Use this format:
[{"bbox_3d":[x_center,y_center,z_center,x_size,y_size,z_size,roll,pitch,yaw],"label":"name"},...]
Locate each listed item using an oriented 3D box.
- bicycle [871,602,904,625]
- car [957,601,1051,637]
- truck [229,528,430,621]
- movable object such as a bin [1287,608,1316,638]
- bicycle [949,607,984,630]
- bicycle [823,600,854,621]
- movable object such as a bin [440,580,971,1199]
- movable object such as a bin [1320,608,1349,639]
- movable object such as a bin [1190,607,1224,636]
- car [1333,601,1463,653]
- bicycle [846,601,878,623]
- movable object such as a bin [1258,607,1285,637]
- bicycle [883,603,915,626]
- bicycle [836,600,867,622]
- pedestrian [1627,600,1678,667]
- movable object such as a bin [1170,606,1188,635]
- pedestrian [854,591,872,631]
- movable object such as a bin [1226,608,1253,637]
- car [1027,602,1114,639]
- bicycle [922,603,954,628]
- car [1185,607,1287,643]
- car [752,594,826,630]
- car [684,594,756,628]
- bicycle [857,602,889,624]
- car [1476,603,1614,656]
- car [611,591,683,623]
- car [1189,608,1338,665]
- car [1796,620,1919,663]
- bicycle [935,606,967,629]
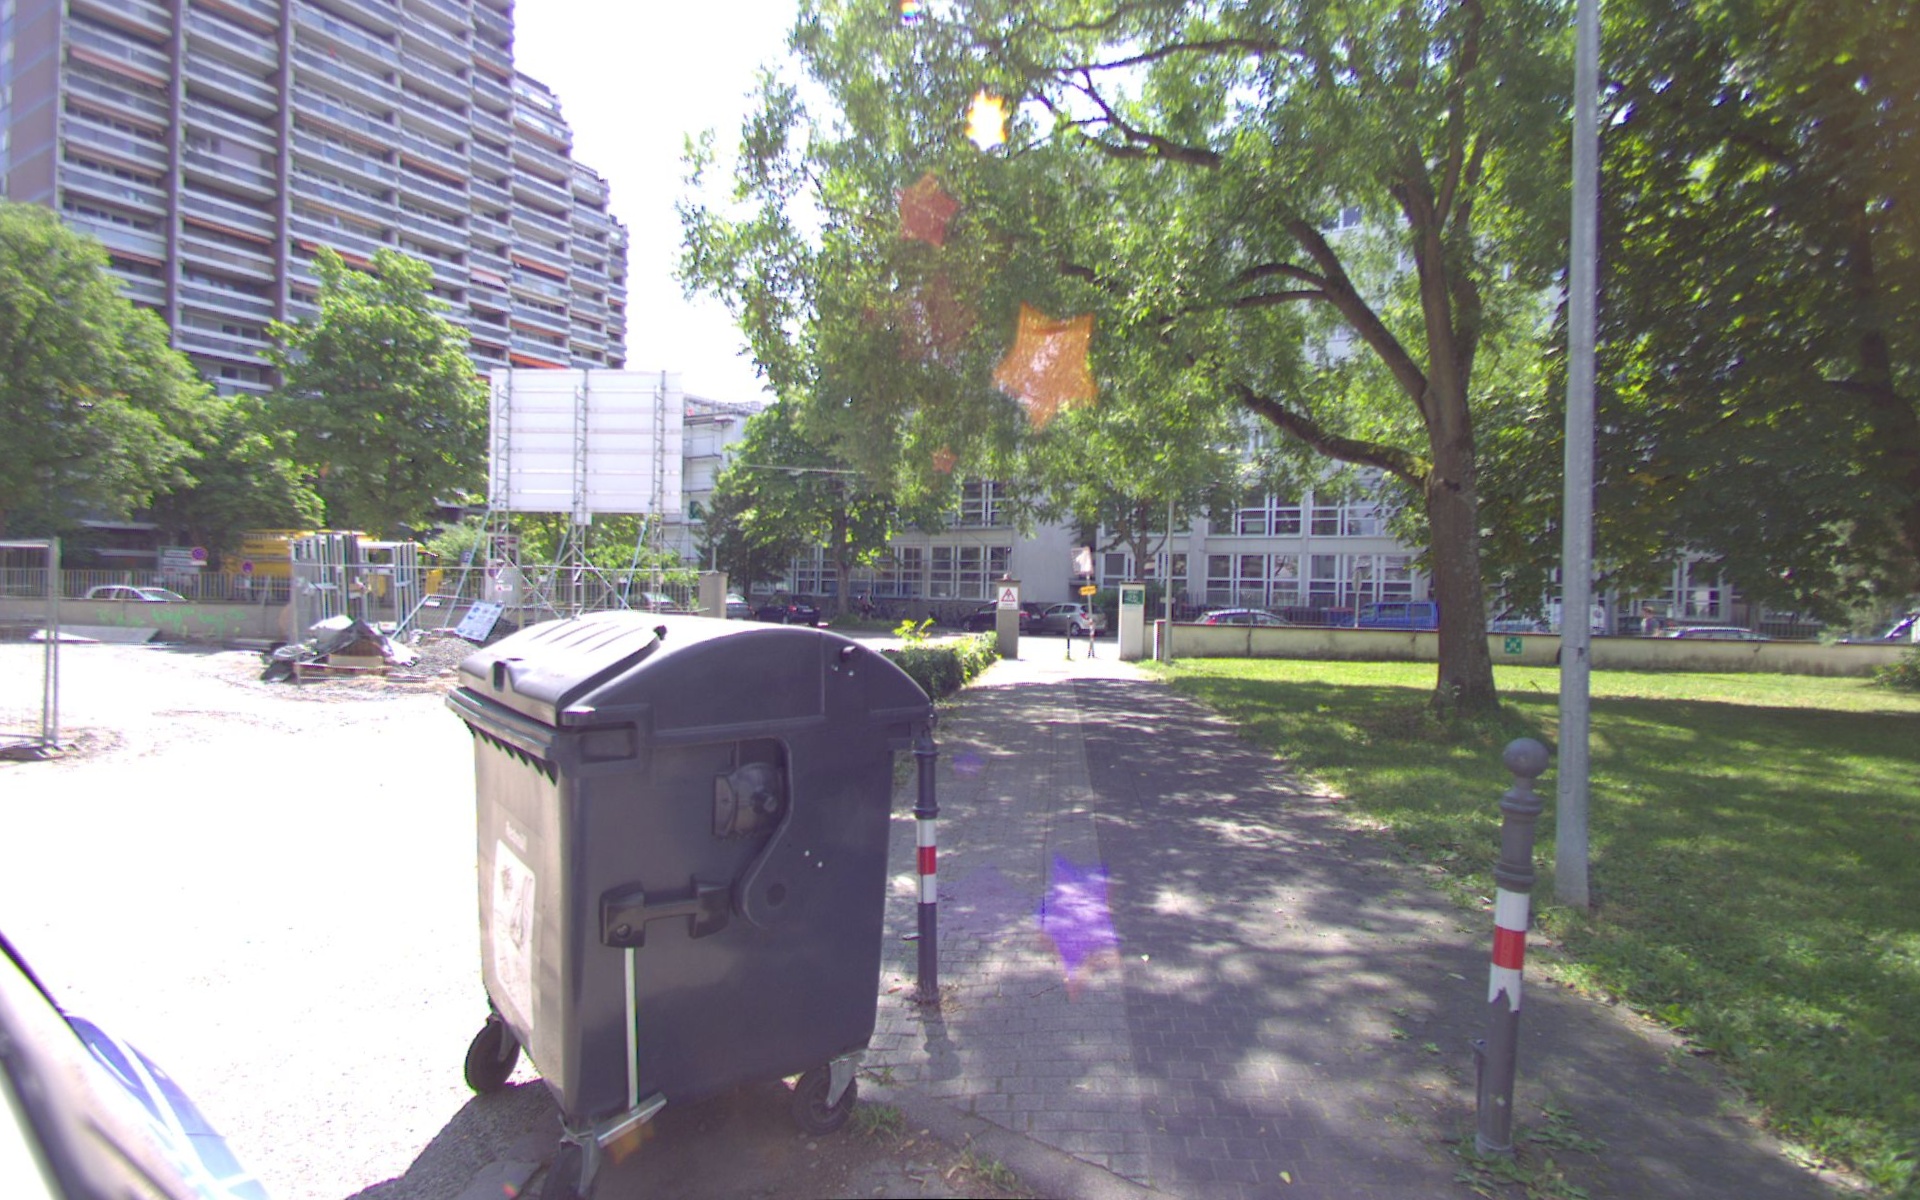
[{"bbox_3d":[-3.722,0.702,52.107,0.567,1.139,1.920,1,0,35],"label":"bicycle"},{"bbox_3d":[1.907,0.831,44.924,1.727,1.481,4.203,2,0,-41],"label":"car"},{"bbox_3d":[-29.404,-1.197,47.125,9.677,4.036,2.731,1,0,22],"label":"truck"},{"bbox_3d":[16.420,1.096,48.682,1.170,1.409,1.033,1,-1,13],"label":"movable object such as a bin"},{"bbox_3d":[0.319,0.923,50.321,0.567,1.139,2.208,1,0,35],"label":"bicycle"},{"bbox_3d":[-6.453,0.564,53.903,0.567,1.139,1.906,1,0,32],"label":"bicycle"},{"bbox_3d":[-0.764,0.670,2.861,1.097,1.404,1.163,2,-1,-34],"label":"movable object such as a bin"},{"bbox_3d":[17.916,1.125,48.453,1.170,1.409,1.033,1,-1,13],"label":"movable object such as a bin"},{"bbox_3d":[11.963,1.040,49.009,1.434,1.340,1.124,1,-1,6],"label":"movable object such as a bin"},{"bbox_3d":[18.457,1.085,42.804,1.969,2.029,4.638,2,0,-41],"label":"car"},{"bbox_3d":[-5.128,0.620,53.117,0.567,1.139,1.904,1,0,35],"label":"bicycle"},{"bbox_3d":[15.033,1.069,48.890,1.170,1.409,1.033,1,-1,13],"label":"movable object such as a bin"},{"bbox_3d":[-3.101,0.738,51.619,0.567,1.139,1.920,1,0,35],"label":"bicycle"},{"bbox_3d":[-5.747,0.600,53.575,0.567,1.139,1.906,1,0,32],"label":"bicycle"},{"bbox_3d":[16.580,0.789,24.232,0.734,1.579,0.697,0,0,3],"label":"pedestrian"},{"bbox_3d":[10.933,1.000,50.461,0.797,1.416,0.762,1,-1,19],"label":"movable object such as a bin"},{"bbox_3d":[-4.606,0.521,48.267,0.573,1.889,0.711,1,-1,18],"label":"pedestrian"},{"bbox_3d":[13.516,1.072,48.920,1.064,1.340,0.969,1,-1,6],"label":"movable object such as a bin"},{"bbox_3d":[4.837,0.887,44.624,1.727,1.473,3.545,2,0,-41],"label":"car"},{"bbox_3d":[-1.120,0.784,51.114,0.567,1.247,1.920,1,0,35],"label":"bicycle"},{"bbox_3d":[11.867,1.054,43.708,1.688,1.424,3.987,2,0,-42],"label":"car"},{"bbox_3d":[-7.693,0.521,45.316,1.624,1.528,3.581,1,0,-41],"label":"car"},{"bbox_3d":[-10.843,0.483,45.561,1.789,1.474,4.033,1,0,-35],"label":"car"},{"bbox_3d":[-4.520,0.675,52.684,0.567,1.139,1.920,1,0,35],"label":"bicycle"},{"bbox_3d":[24.471,1.186,42.496,1.966,2.029,4.644,2,0,-33],"label":"car"},{"bbox_3d":[-14.231,0.294,45.932,1.605,1.383,4.028,1,0,-42],"label":"car"},{"bbox_3d":[8.422,1.029,28.311,3.675,1.468,1.588,1,-3,2],"label":"car"},{"bbox_3d":[37.320,1.682,41.848,1.724,1.397,4.006,-1,4,-42],"label":"car"},{"bbox_3d":[-0.460,0.885,50.672,0.567,1.139,1.920,1,0,35],"label":"bicycle"}]
